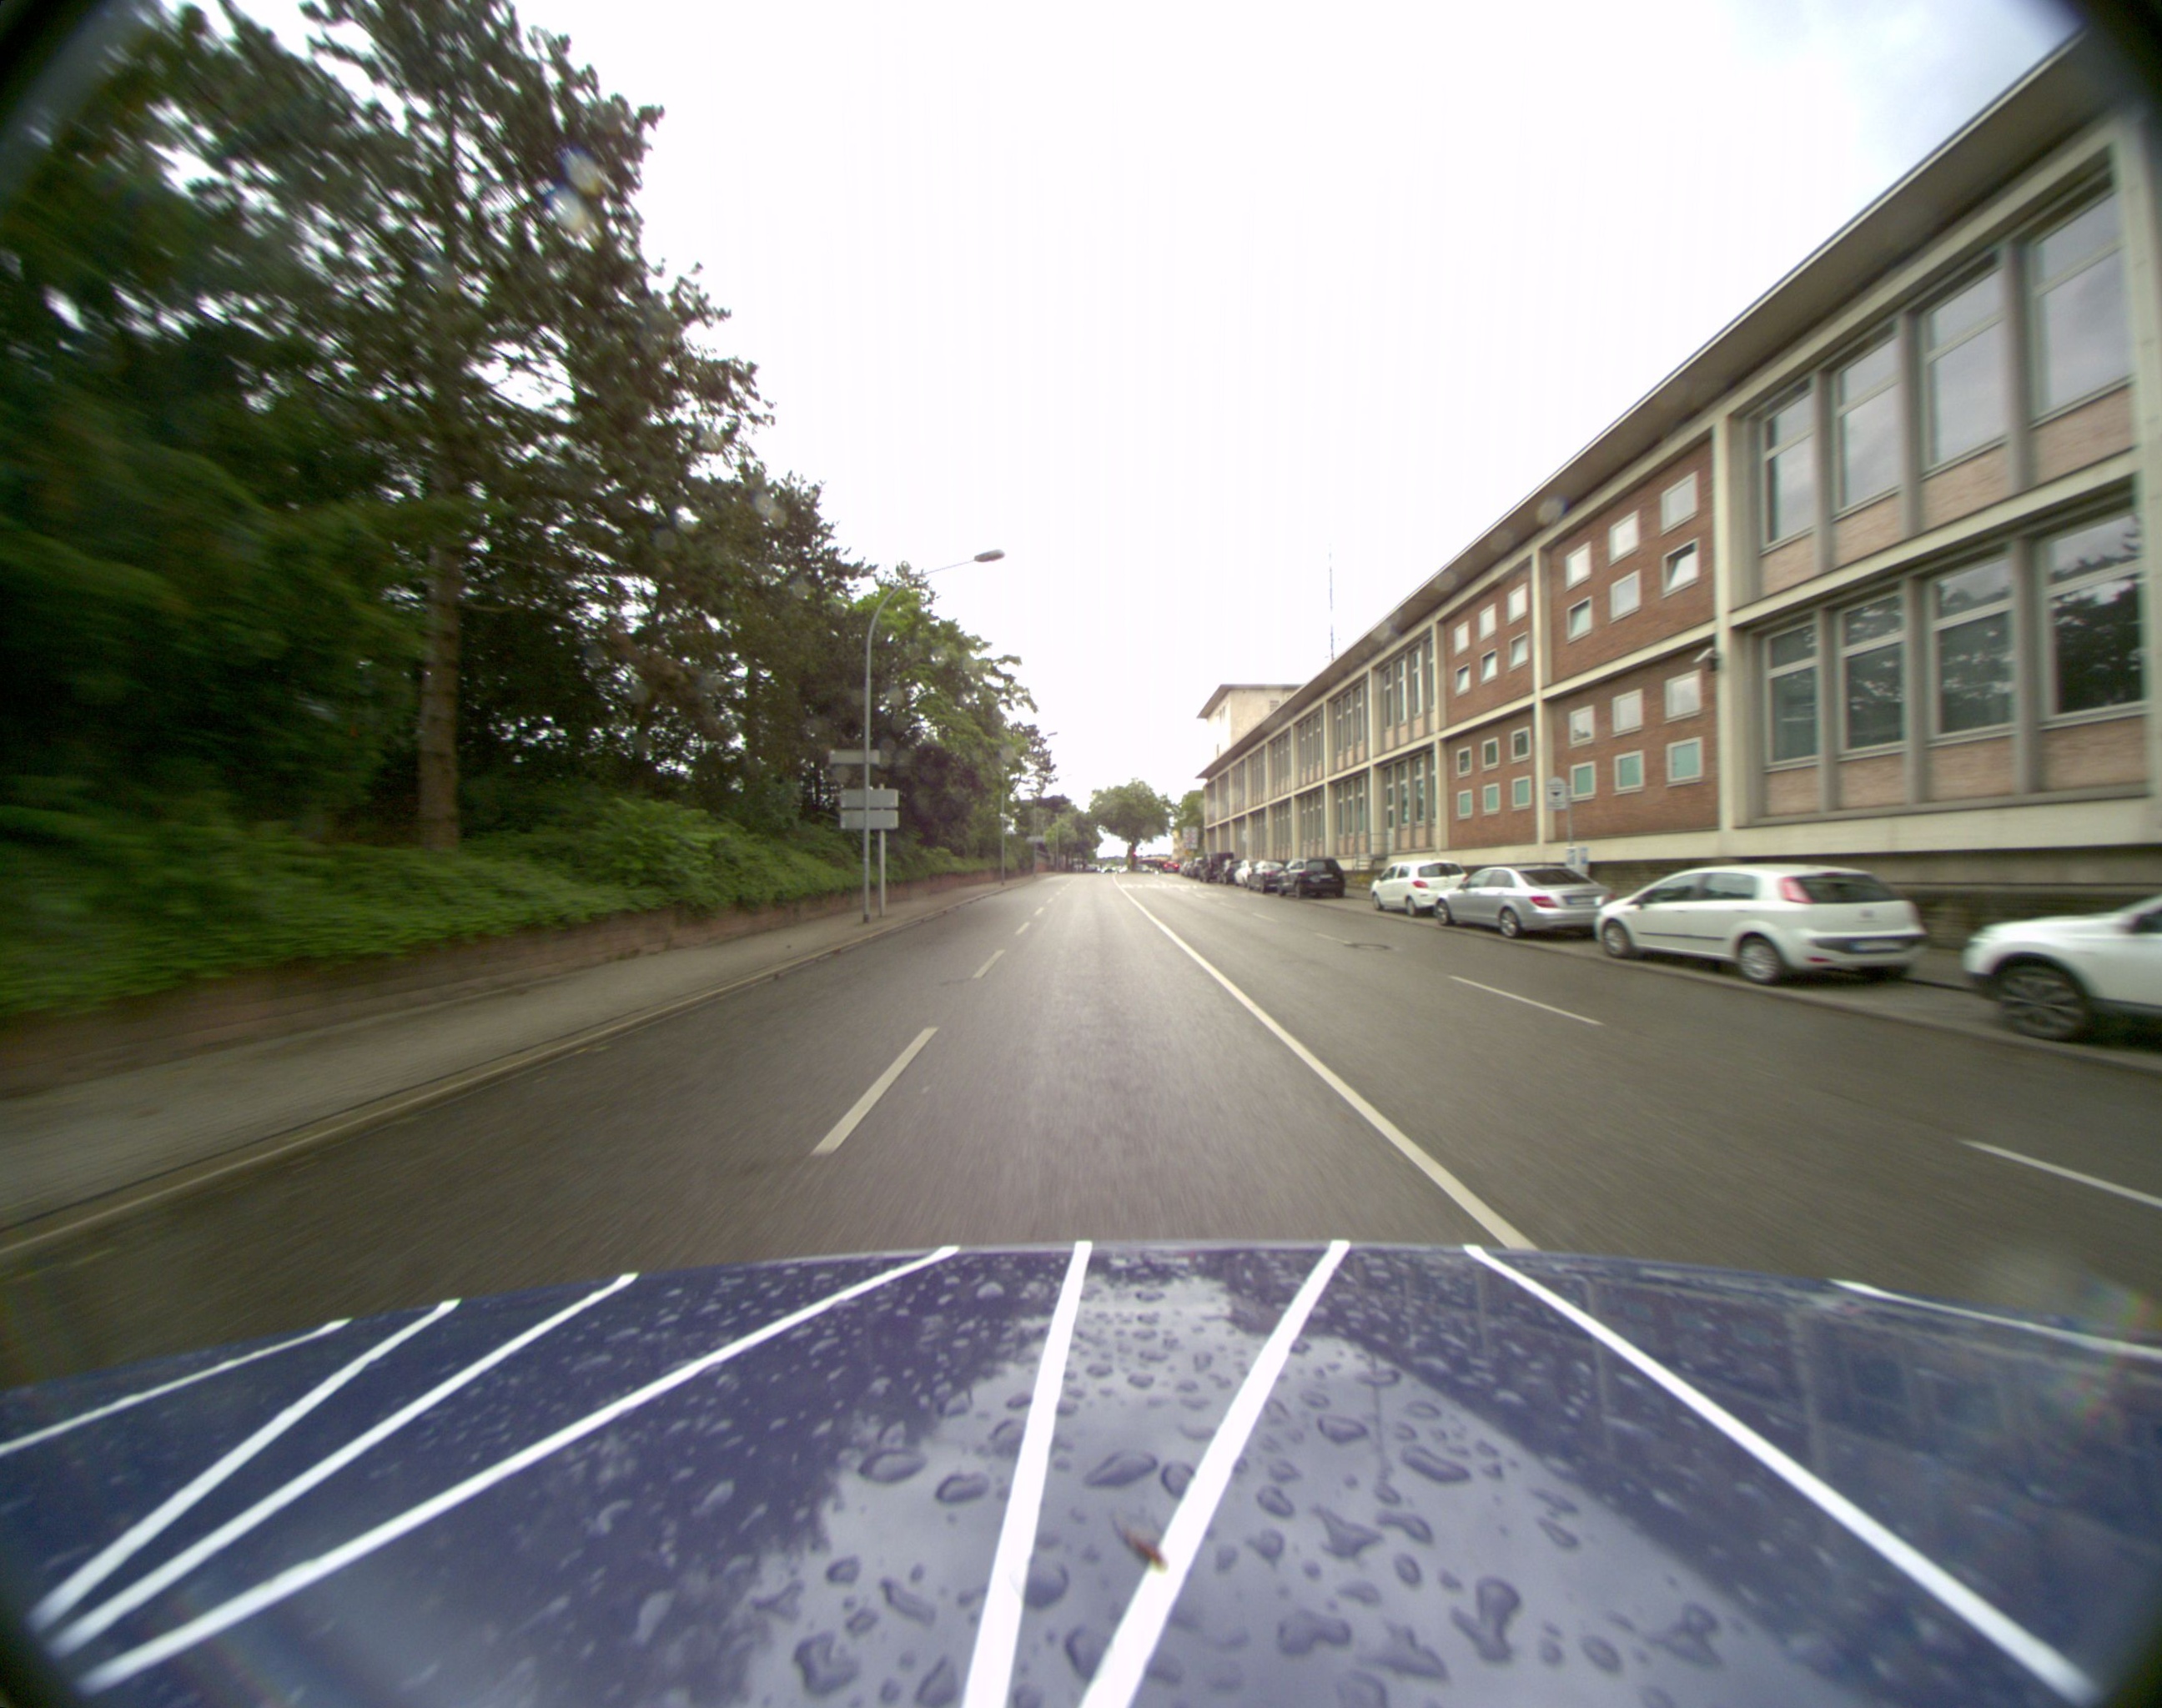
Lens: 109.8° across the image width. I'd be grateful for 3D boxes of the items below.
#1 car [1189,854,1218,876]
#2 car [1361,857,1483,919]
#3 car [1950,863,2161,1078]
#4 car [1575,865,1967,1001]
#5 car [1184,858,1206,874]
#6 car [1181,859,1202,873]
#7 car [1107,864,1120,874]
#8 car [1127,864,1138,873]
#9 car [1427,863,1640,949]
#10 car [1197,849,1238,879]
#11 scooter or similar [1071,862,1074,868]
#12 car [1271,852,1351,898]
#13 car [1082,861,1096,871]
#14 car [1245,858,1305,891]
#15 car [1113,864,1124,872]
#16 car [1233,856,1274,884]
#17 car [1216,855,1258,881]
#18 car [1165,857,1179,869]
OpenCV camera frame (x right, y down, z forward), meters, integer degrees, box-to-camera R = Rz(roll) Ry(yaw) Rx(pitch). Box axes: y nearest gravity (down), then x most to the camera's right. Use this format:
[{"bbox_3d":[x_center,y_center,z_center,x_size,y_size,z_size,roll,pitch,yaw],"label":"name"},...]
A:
[{"bbox_3d":[9.792,0.870,60.774,1.801,1.666,4.604,-1,0,3],"label":"car"},{"bbox_3d":[9.473,0.887,21.434,1.683,1.514,3.920,-1,0,0],"label":"car"},{"bbox_3d":[9.277,0.920,5.244,1.752,1.588,4.181,-2,0,0],"label":"car"},{"bbox_3d":[9.340,0.945,10.873,1.752,1.445,4.181,-2,0,-1],"label":"car"},{"bbox_3d":[9.911,1.059,66.400,1.546,1.345,4.111,-1,0,4],"label":"car"},{"bbox_3d":[10.419,1.143,71.640,1.695,1.290,4.094,-1,0,4],"label":"car"},{"bbox_3d":[5.132,2.351,120.556,1.871,1.465,3.829,1,-1,6],"label":"car"},{"bbox_3d":[9.634,2.733,142.124,1.969,1.630,4.360,1,-1,2],"label":"car"},{"bbox_3d":[9.254,0.972,16.051,1.752,1.427,4.485,-2,0,-1],"label":"car"},{"bbox_3d":[9.290,0.683,52.104,1.954,1.932,4.996,-1,0,0],"label":"car"},{"bbox_3d":[-1.621,2.162,150.656,0.494,1.146,1.546,1,-1,1],"label":"scooter or similar"},{"bbox_3d":[9.197,0.785,30.752,1.846,1.643,4.515,-2,1,0],"label":"car"},{"bbox_3d":[1.313,1.962,122.776,1.871,1.465,3.829,1,-1,6],"label":"car"},{"bbox_3d":[9.230,0.936,36.553,1.820,1.475,4.910,-1,0,2],"label":"car"},{"bbox_3d":[7.778,2.937,157.379,1.983,1.437,3.911,2,-1,5],"label":"car"},{"bbox_3d":[9.503,0.871,42.117,1.570,1.475,3.553,0,0,2],"label":"car"},{"bbox_3d":[9.556,0.850,46.918,1.865,1.542,4.313,0,0,2],"label":"car"},{"bbox_3d":[12.467,1.186,104.381,1.825,1.651,4.339,0,0,6],"label":"car"}]
